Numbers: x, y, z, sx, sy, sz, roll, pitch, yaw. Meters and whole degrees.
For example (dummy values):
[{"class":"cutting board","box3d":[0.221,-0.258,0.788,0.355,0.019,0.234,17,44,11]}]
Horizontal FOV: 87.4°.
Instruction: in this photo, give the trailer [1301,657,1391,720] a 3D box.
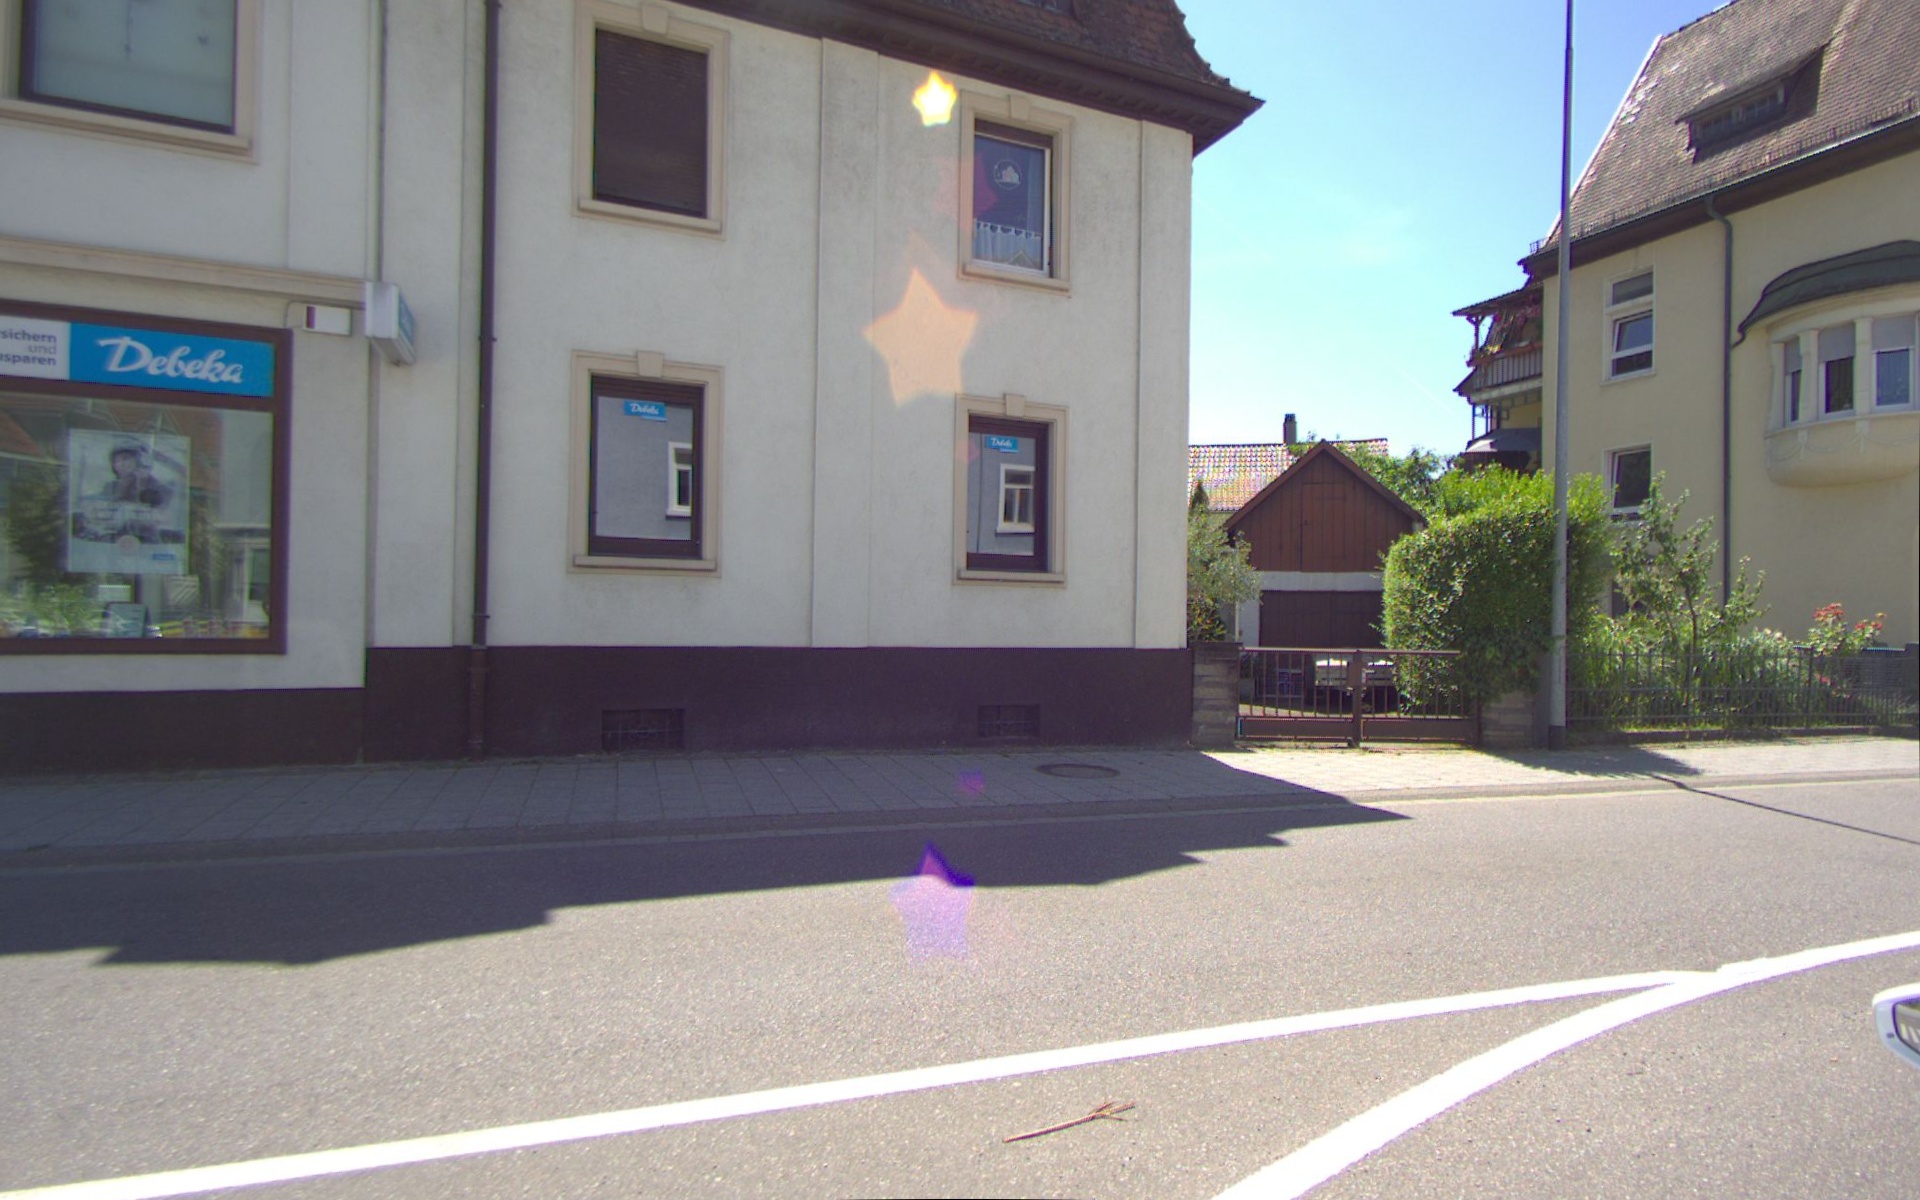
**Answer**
[{"class":"trailer","box3d":[6.709,1.478,17.424,1.333,0.872,2.817,1,-1,22]}]
